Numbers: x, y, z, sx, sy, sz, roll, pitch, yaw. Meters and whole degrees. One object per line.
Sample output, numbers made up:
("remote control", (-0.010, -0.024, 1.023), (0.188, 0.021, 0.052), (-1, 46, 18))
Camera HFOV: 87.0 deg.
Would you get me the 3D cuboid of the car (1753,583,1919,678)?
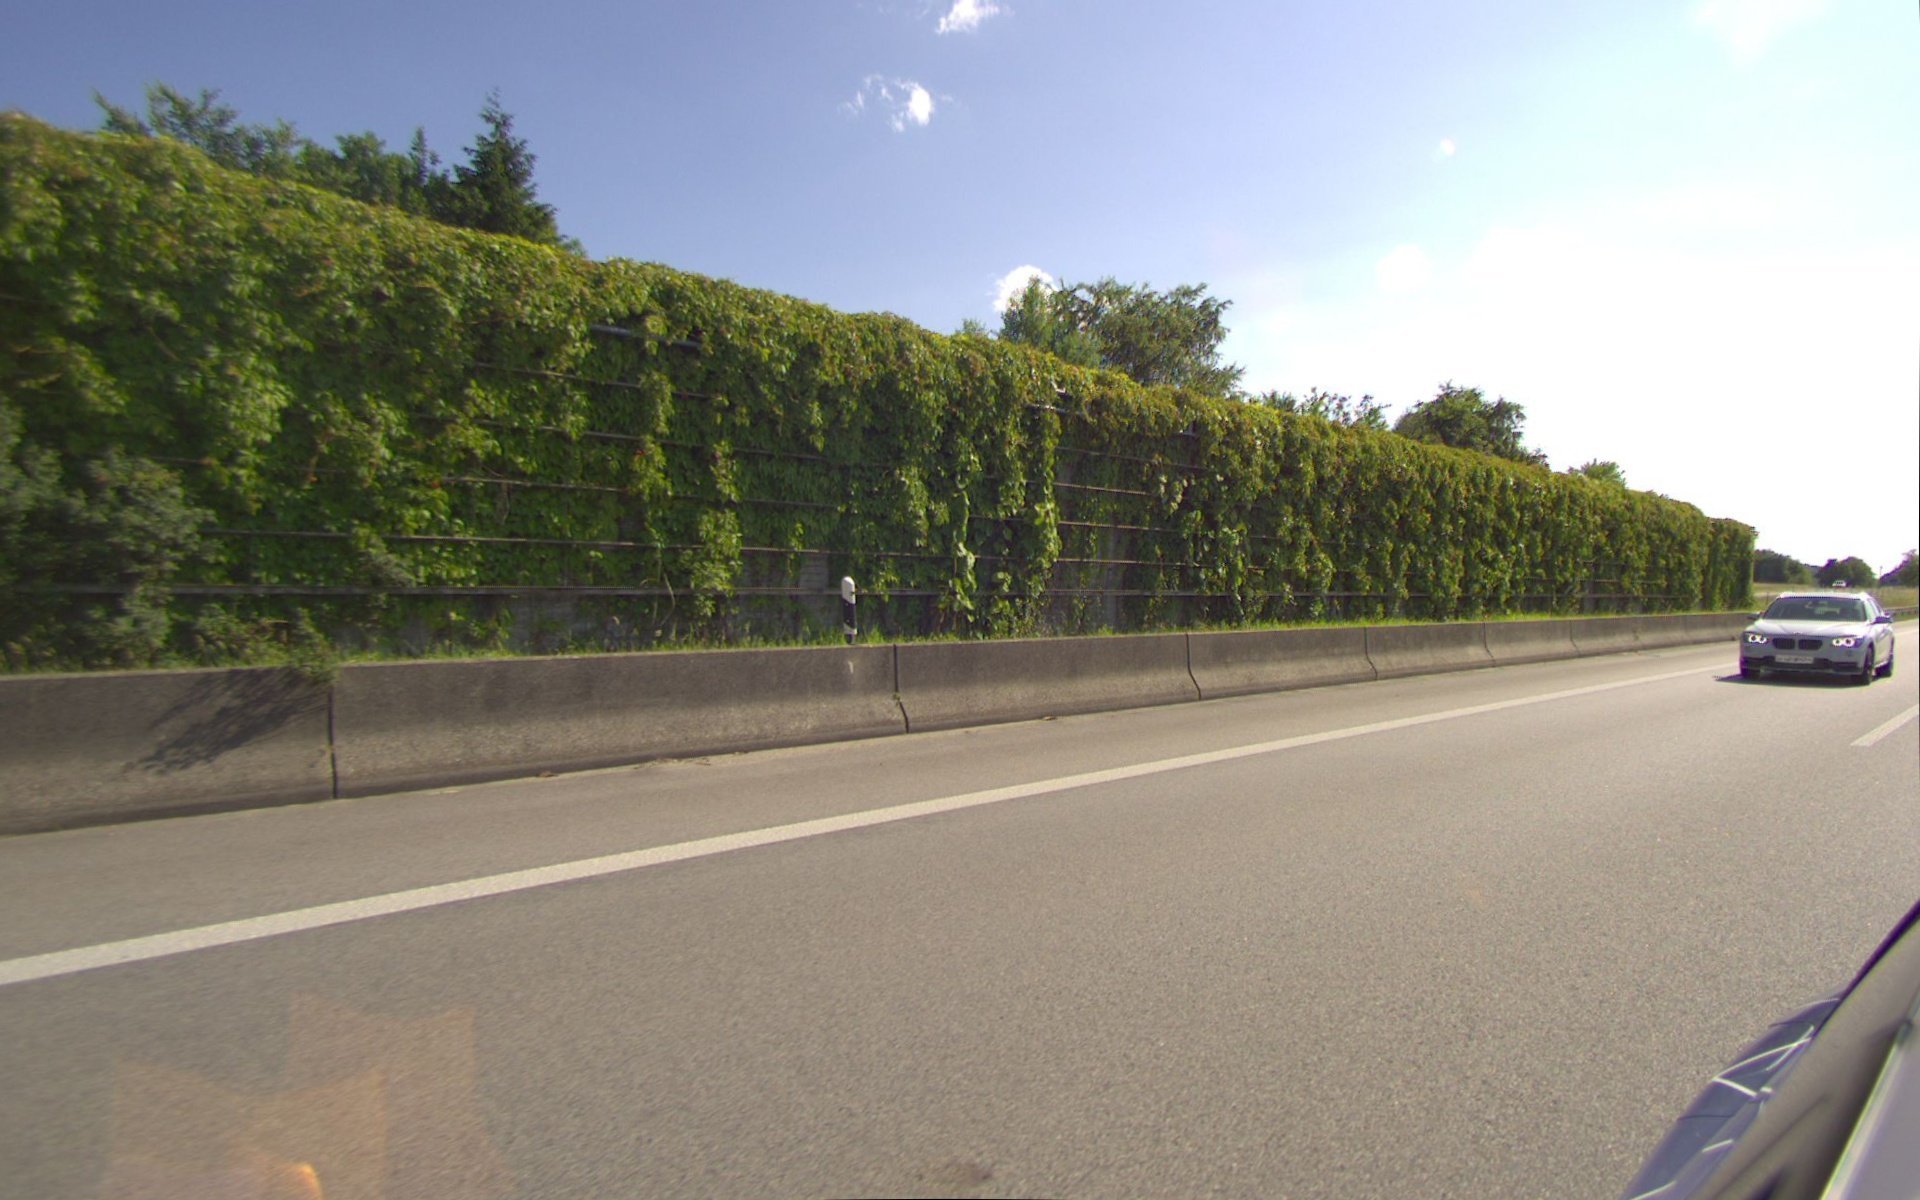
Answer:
("car", (16.084, 0.499, 18.459), (4.900, 1.515, 1.687), (1, 0, -41))
